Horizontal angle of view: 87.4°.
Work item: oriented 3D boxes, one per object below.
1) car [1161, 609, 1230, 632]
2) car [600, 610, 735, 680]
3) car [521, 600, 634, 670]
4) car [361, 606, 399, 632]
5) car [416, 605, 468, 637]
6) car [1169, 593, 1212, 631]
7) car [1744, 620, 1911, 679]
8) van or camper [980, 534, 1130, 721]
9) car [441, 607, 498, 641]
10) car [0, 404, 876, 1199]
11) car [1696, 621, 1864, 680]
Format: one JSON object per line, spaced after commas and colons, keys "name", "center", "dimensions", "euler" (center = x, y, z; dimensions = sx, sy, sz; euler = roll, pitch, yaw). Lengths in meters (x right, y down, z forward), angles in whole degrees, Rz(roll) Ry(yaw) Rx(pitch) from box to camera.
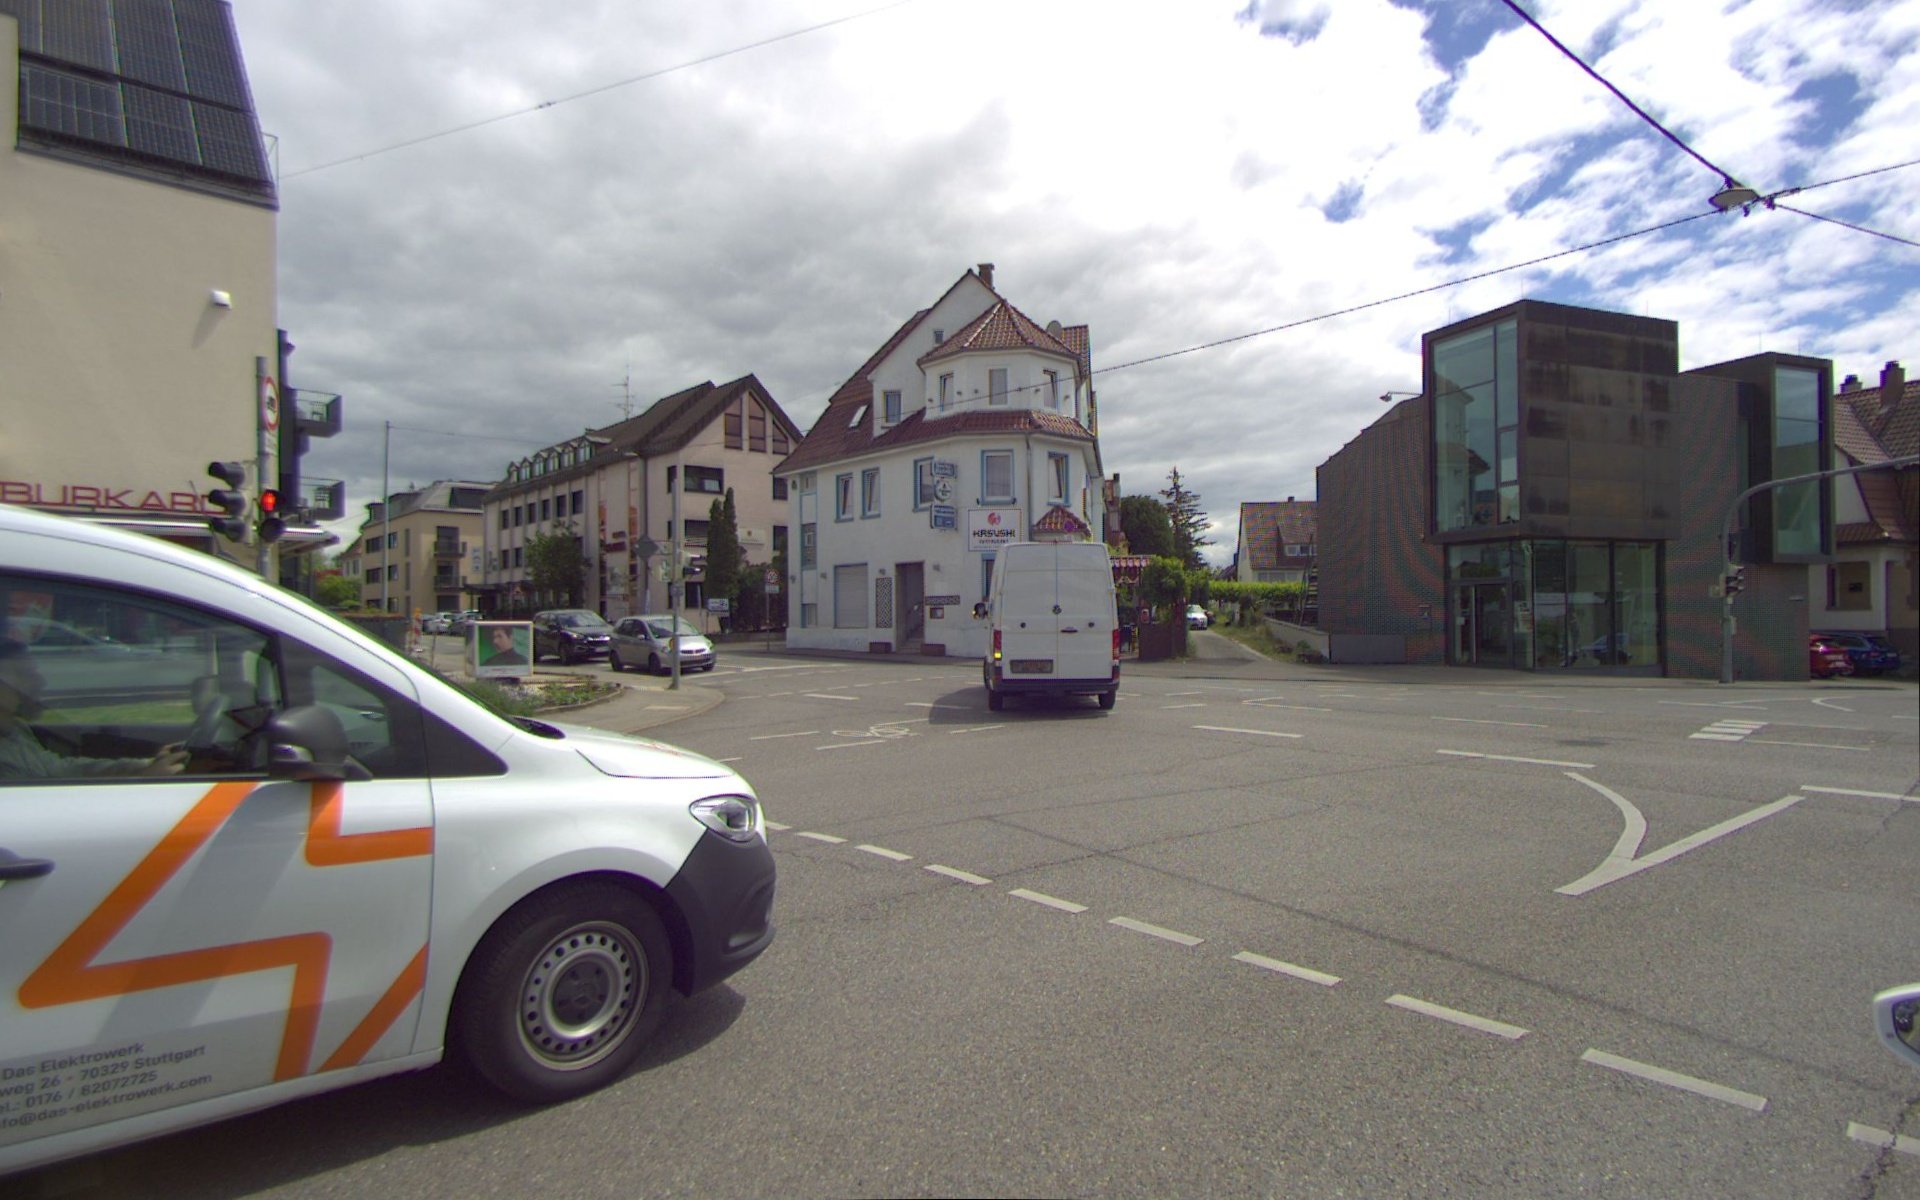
{"name": "car", "center": [13.886, 1.212, 59.219], "dimensions": [3.919, 1.327, 1.534], "euler": [0, -1, 14]}
{"name": "car", "center": [-8.069, 1.164, 27.568], "dimensions": [1.986, 1.706, 3.949], "euler": [1, 0, -43]}
{"name": "car", "center": [-12.200, 1.039, 31.906], "dimensions": [1.986, 2.040, 3.948], "euler": [-1, 0, -44]}
{"name": "car", "center": [-46.642, 1.529, 80.769], "dimensions": [1.984, 2.040, 3.953], "euler": [1, -1, -40]}
{"name": "car", "center": [-34.314, 1.339, 66.485], "dimensions": [1.987, 2.040, 3.946], "euler": [1, -1, -45]}
{"name": "car", "center": [12.702, 0.654, 55.491], "dimensions": [1.959, 2.040, 4.002], "euler": [0, -1, 8]}
{"name": "car", "center": [30.712, 1.693, 35.688], "dimensions": [1.971, 1.707, 3.977], "euler": [1, 2, -23]}
{"name": "van or camper", "center": [1.410, 0.421, 17.152], "dimensions": [2.072, 2.621, 5.646], "euler": [-1, 0, 1]}
{"name": "car", "center": [-30.703, 1.485, 62.847], "dimensions": [3.946, 2.040, 1.988], "euler": [0, -1, 45]}
{"name": "car", "center": [-2.554, 0.504, 2.918], "dimensions": [4.381, 1.836, 1.801], "euler": [1, -1, -39]}
{"name": "car", "center": [28.076, 1.668, 34.540], "dimensions": [1.971, 1.662, 3.977], "euler": [1, 2, -23]}
